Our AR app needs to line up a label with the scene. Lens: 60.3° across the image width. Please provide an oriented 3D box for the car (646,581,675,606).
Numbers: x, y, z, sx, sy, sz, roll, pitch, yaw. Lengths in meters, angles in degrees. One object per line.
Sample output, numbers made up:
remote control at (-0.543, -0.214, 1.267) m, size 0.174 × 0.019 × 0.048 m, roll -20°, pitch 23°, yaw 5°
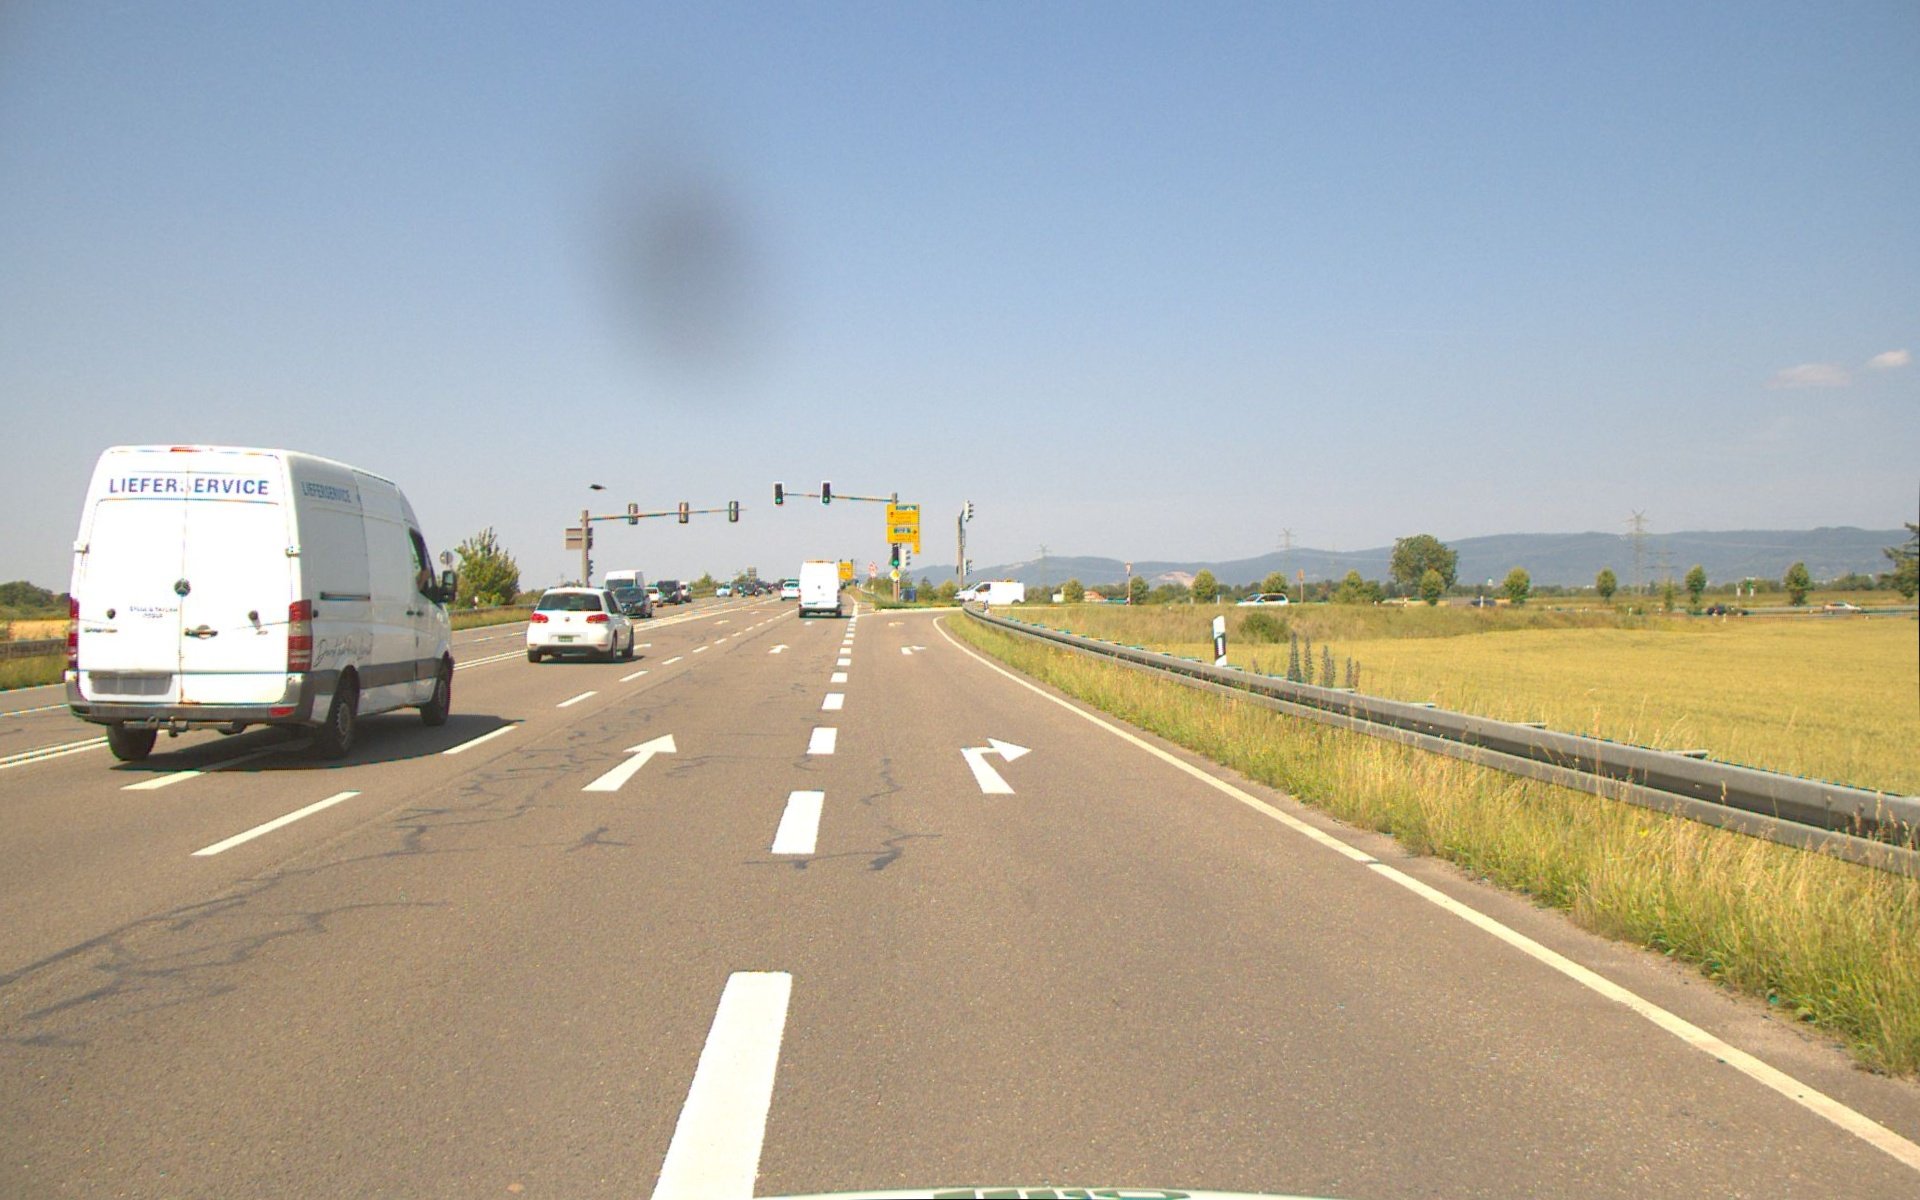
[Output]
car at (-23.769, -0.499, 131.216) m, size 1.836 × 1.920 × 3.330 m, roll 0°, pitch -1°, yaw -3°

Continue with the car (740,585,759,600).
car at (-23.392, -0.801, 183.816) m, size 1.601 × 1.512 × 3.999 m, roll 1°, pitch -1°, yaw -1°

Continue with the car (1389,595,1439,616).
car at (34.077, 0.412, 124.145) m, size 3.433 × 1.512 × 1.635 m, roll 1°, pitch -1°, yaw -28°

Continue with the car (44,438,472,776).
car at (-6.408, 0.034, 15.988) m, size 1.999 × 2.666 × 5.737 m, roll 0°, pitch 0°, yaw -4°

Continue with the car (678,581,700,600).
car at (-23.833, -0.813, 145.468) m, size 1.570 × 1.609 × 3.330 m, roll 0°, pitch -1°, yaw -3°

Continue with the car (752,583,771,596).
car at (-26.017, -1.379, 217.148) m, size 1.953 × 1.646 × 4.000 m, roll 1°, pitch -1°, yaw 0°

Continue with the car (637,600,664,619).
car at (-22.096, 0.683, 118.082) m, size 1.433 × 1.296 × 3.330 m, roll 0°, pitch -1°, yaw -3°

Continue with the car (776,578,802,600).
car at (-14.115, -0.905, 136.902) m, size 1.954 × 1.733 × 4.272 m, roll 1°, pitch -1°, yaw -3°

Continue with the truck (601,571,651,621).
truck at (-20.891, -0.205, 103.580) m, size 2.251 × 3.009 × 5.280 m, roll 0°, pitch -1°, yaw -3°

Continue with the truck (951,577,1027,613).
truck at (1.981, -0.323, 112.832) m, size 4.769 × 2.361 × 1.989 m, roll 1°, pitch -1°, yaw -19°

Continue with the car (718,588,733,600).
car at (-27.455, -0.715, 193.496) m, size 1.433 × 1.296 × 3.330 m, roll 0°, pitch -1°, yaw -3°

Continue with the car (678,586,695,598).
car at (-30.767, -0.894, 186.066) m, size 1.433 × 1.296 × 3.330 m, roll 0°, pitch -1°, yaw -3°

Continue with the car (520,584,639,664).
car at (-7.796, 0.449, 34.222) m, size 1.764 × 1.534 × 4.193 m, roll 0°, pitch 0°, yaw -4°

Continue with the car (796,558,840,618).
car at (-6.629, -0.553, 77.581) m, size 1.954 × 2.742 × 4.965 m, roll 0°, pitch 0°, yaw -4°

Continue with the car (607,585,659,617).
car at (-15.482, 0.063, 78.424) m, size 1.820 × 1.448 × 3.998 m, roll 0°, pitch -1°, yaw -3°
